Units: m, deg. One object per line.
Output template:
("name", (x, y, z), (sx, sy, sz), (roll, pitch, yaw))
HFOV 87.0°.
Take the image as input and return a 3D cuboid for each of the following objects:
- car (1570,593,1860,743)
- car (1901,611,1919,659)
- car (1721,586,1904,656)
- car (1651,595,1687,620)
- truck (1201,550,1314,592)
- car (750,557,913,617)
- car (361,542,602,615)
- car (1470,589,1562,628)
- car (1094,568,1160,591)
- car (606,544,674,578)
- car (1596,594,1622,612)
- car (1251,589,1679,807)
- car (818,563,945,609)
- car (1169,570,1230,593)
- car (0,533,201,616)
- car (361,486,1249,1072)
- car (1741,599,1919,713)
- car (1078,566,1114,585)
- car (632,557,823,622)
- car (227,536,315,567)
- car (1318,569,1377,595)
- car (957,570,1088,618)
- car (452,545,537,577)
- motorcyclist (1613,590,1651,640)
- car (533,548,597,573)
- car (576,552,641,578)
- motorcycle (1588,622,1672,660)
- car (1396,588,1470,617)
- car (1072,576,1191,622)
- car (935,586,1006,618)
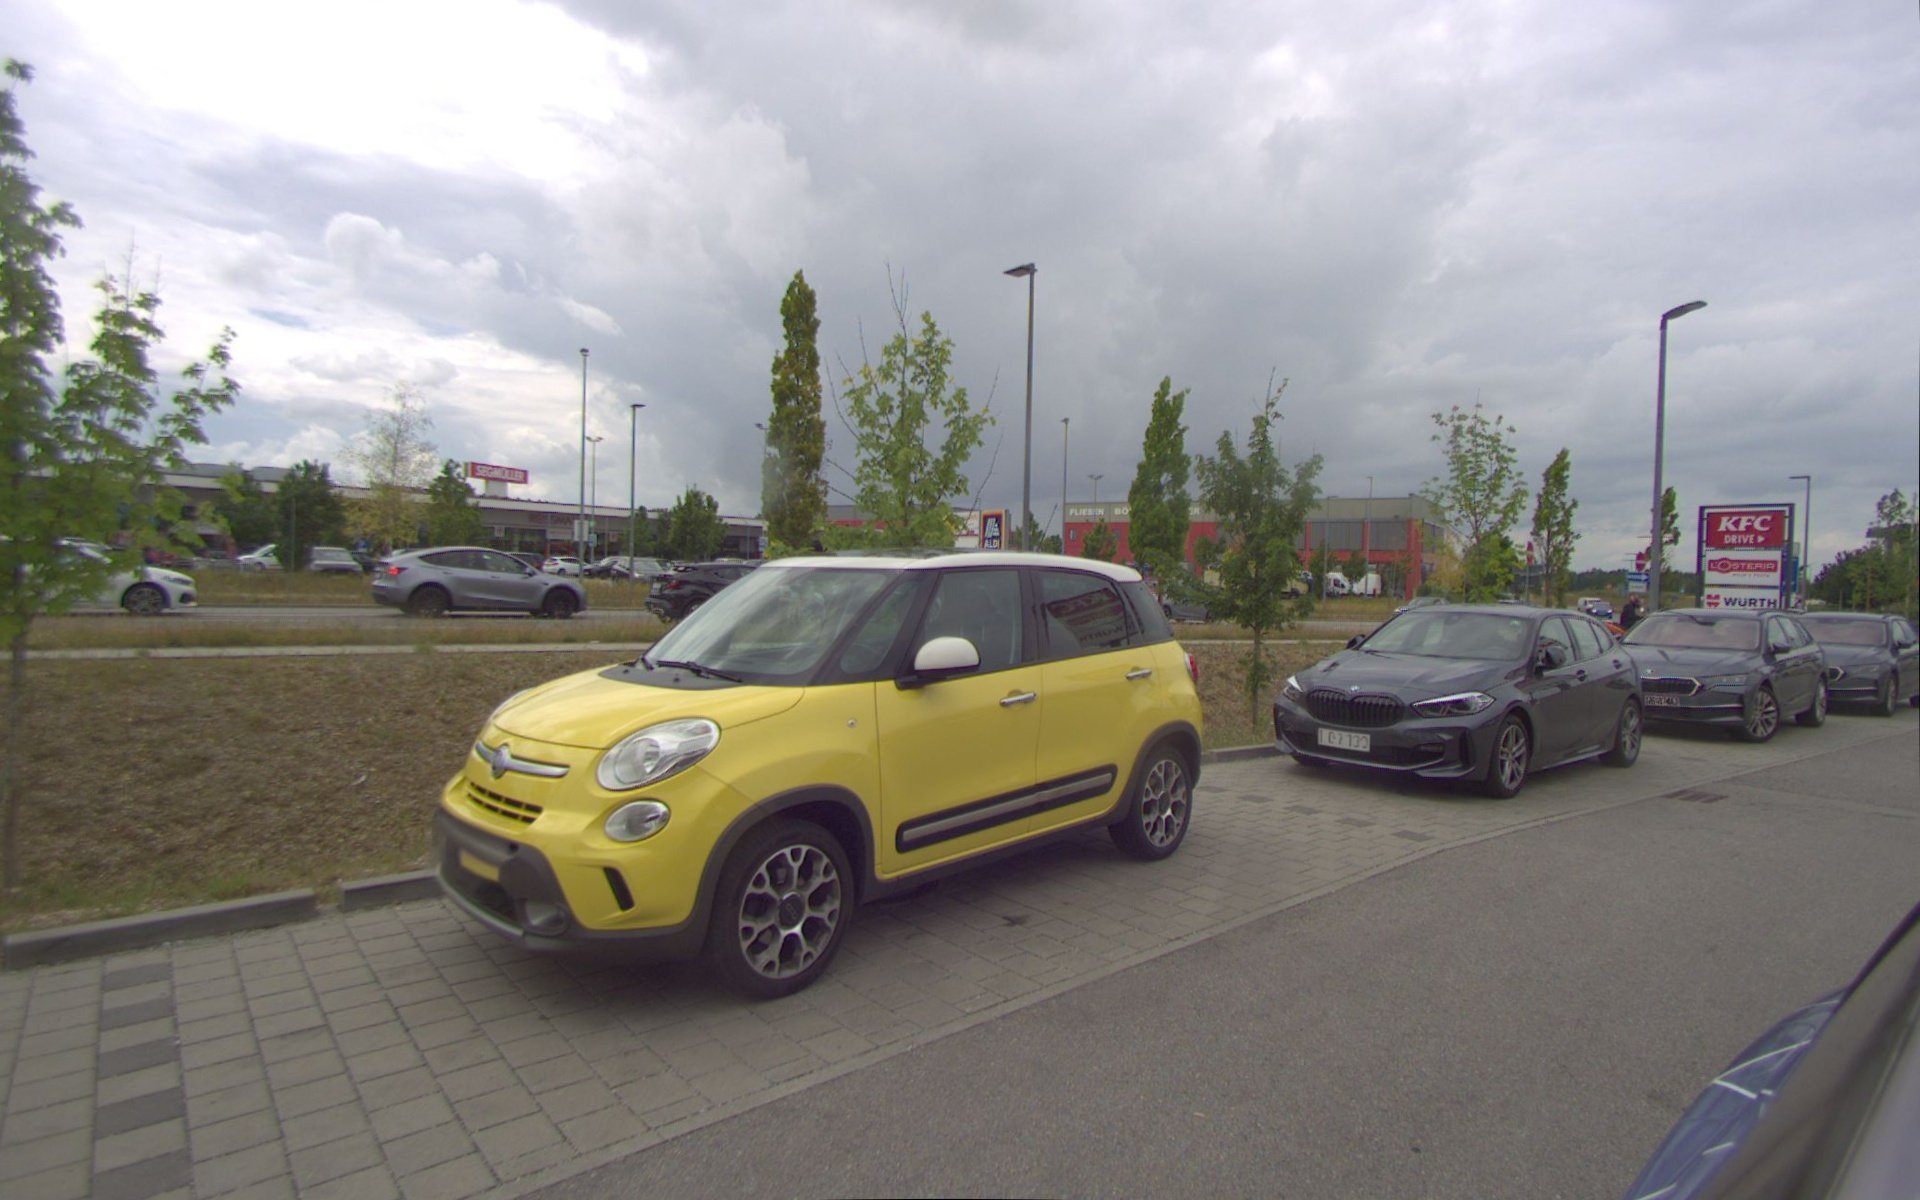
("car", (9.458, 0.709, 12.548), (4.548, 1.509, 1.752), (0, 1, -38))
("car", (30.764, 1.135, 29.934), (1.776, 1.437, 4.001), (1, 2, -35))
("car", (21.034, 0.466, 25.069), (1.478, 1.464, 3.128), (1, 3, -34))
("car", (55.382, 0.584, 79.048), (1.900, 1.836, 3.941), (3, 2, 41))
("truck", (22.771, -2.238, 77.540), (8.010, 2.981, 2.686), (1, 2, -16))
("car", (-3.627, -0.351, 28.937), (4.257, 1.588, 1.908), (1, 2, -39))
("car", (-11.112, -0.475, 23.712), (4.798, 1.526, 1.809), (1, 2, -41))
("car", (24.308, 0.367, 44.202), (4.289, 1.534, 1.999), (1, 2, -38))
("car", (11.080, -1.387, 67.141), (1.965, 1.460, 3.995), (0, 1, -41))
("car", (-15.366, -1.884, 48.524), (1.746, 1.494, 3.997), (1, 2, -39))
("car", (64.470, 0.307, 100.521), (1.984, 1.697, 3.956), (3, 2, 31))
("car", (4.548, 0.661, 8.835), (4.228, 1.433, 1.751), (0, 1, -39))
("car", (-2.675, -0.470, 34.804), (3.976, 1.499, 1.760), (1, 1, -33))
("car", (16.937, -1.326, 71.576), (3.822, 1.445, 1.719), (3, 2, 38))
("car", (-17.057, -0.492, 19.152), (4.176, 1.468, 1.798), (0, 2, -42))
("car", (-0.377, 0.497, 5.092), (1.747, 1.704, 4.231), (2, 1, 43))
("car", (14.061, 0.776, 15.853), (4.404, 1.509, 1.753), (0, 1, -37))
("car", (12.172, -2.198, 90.413), (1.750, 1.674, 3.793), (3, 3, 32))
("car", (-5.355, -0.244, 23.479), (3.925, 1.371, 1.760), (1, 2, -37))
("car", (-40.899, -2.890, 60.151), (1.865, 1.660, 3.950), (3, 2, 35))
("car", (33.417, -1.576, 87.293), (4.411, 2.149, 1.975), (2, 1, 35))
("car", (2.076, -0.189, 33.277), (3.924, 1.415, 1.910), (1, 2, -35))
("car", (-26.233, -2.198, 57.158), (1.865, 1.660, 3.950), (3, 2, 35))
("motorcyclist", (18.731, 0.412, 28.224), (0.564, 1.332, 0.673), (1, 1, -33))
("car", (-28.565, -2.812, 73.261), (1.865, 1.660, 3.950), (3, 2, 35))
("car", (-24.278, -2.377, 70.025), (1.865, 1.660, 3.950), (3, 2, 35))
("motorcycle", (18.689, 1.123, 28.253), (0.545, 0.928, 1.870), (1, 2, -34))
("car", (25.264, 0.130, 54.027), (4.450, 1.499, 1.757), (0, 1, -38))
("car", (6.096, -0.024, 35.829), (3.922, 1.513, 1.824), (1, 2, -34))
("car", (0.513, 0.087, 54.436), (1.961, 1.549, 4.003), (1, 1, -32))
